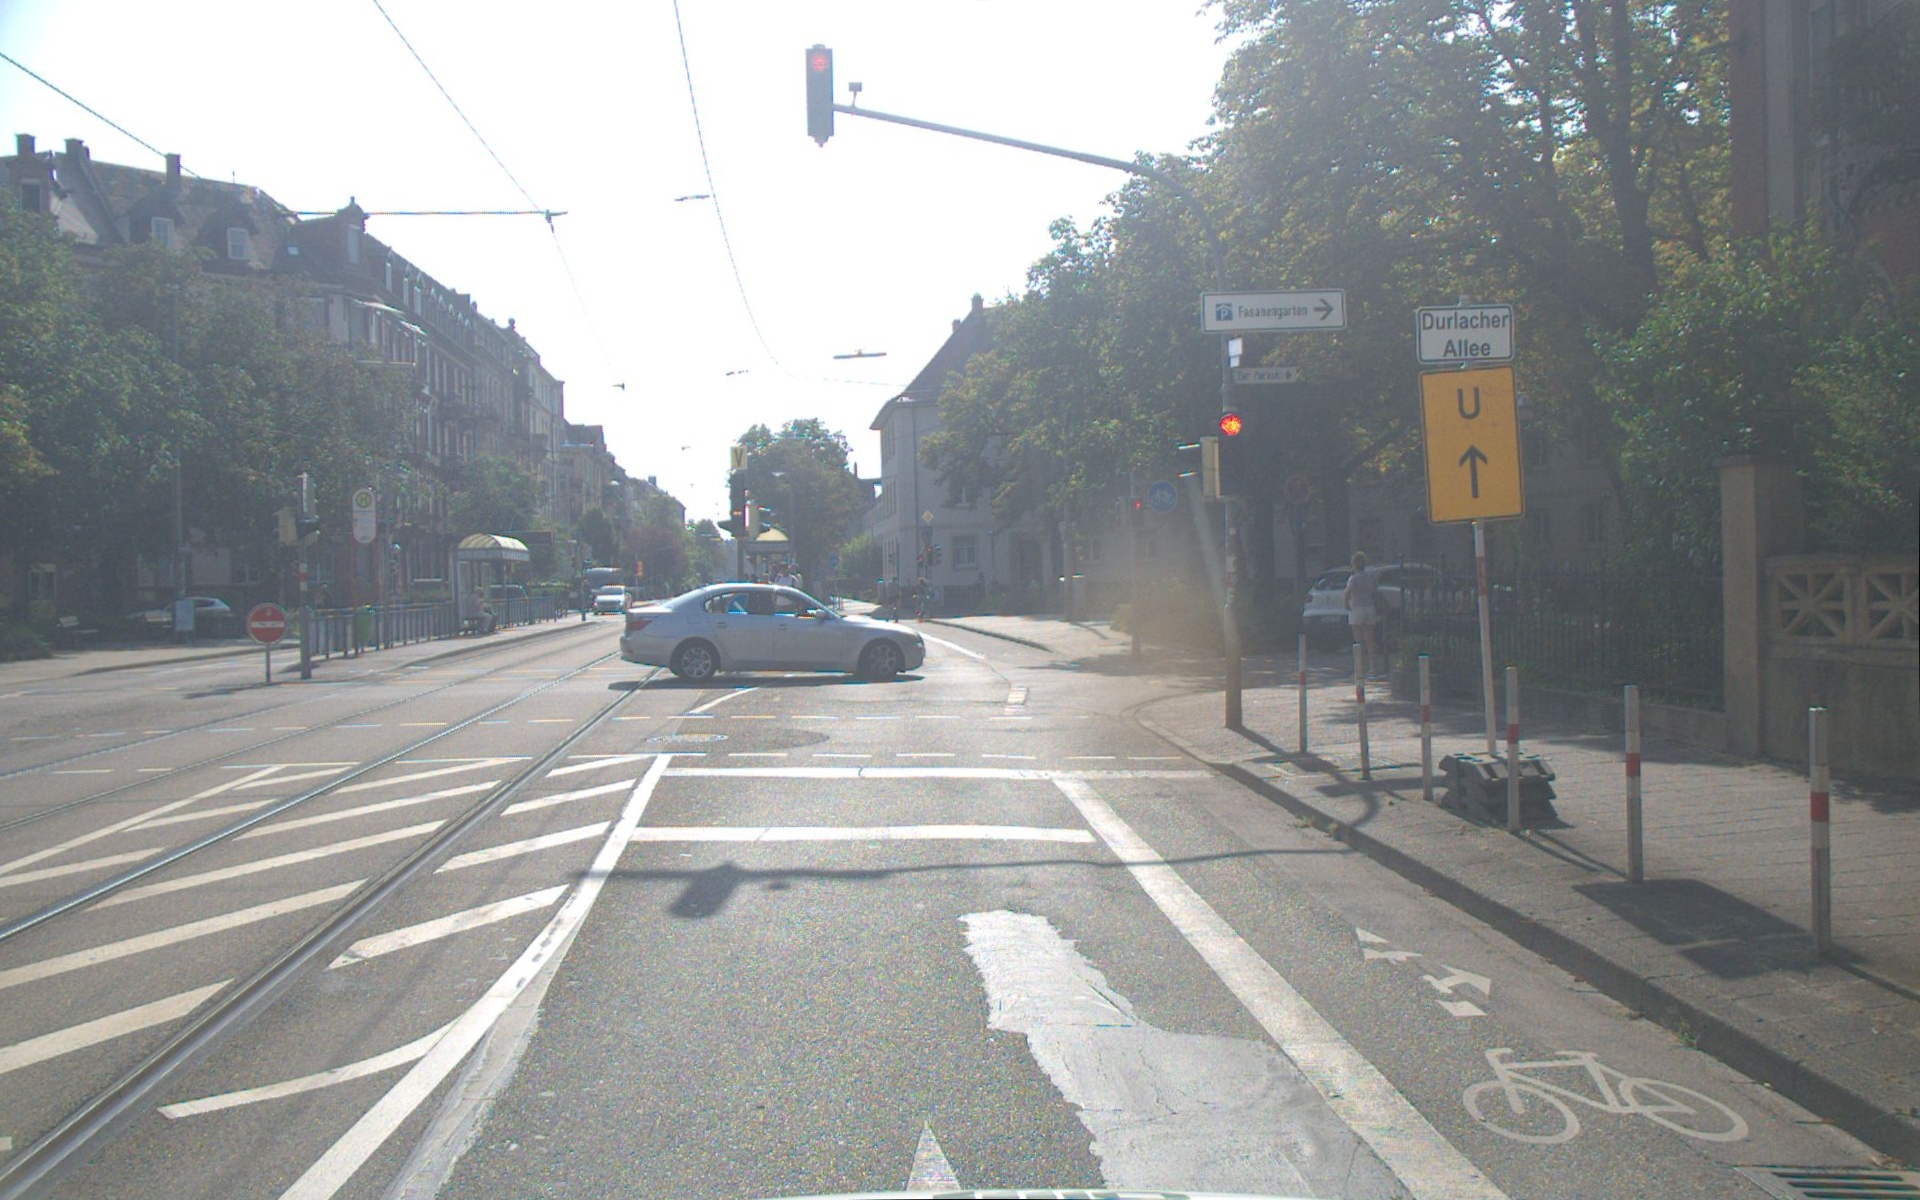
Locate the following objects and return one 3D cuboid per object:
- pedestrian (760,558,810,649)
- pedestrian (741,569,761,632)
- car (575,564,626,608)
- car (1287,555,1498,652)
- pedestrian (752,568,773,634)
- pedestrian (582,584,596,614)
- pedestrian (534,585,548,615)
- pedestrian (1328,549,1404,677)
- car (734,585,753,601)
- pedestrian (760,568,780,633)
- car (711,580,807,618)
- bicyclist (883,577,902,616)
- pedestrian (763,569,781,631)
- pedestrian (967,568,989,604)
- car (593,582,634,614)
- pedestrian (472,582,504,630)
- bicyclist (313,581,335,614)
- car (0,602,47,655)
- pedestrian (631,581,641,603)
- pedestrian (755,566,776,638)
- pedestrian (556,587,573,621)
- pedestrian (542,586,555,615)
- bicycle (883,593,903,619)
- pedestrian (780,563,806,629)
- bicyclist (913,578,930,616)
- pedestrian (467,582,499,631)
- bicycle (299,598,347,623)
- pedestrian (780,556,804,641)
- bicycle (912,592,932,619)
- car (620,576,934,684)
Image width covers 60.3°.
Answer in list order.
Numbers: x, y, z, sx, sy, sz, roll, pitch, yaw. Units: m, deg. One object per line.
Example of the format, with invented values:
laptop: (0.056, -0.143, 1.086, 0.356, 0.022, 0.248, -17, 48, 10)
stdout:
pedestrian: (-3.481, 0.051, 32.904, 0.686, 1.755, 0.747, 3, 3, 26)
pedestrian: (-6.041, -0.002, 47.899, 0.522, 1.790, 0.544, 1, 3, -5)
car: (-23.251, -0.937, 107.123, 2.300, 2.708, 5.103, -1, 1, -2)
car: (8.318, 0.024, 31.615, 4.299, 1.659, 1.968, -3, 1, -44)
pedestrian: (-5.465, 0.022, 45.725, 0.532, 1.790, 0.533, 1, 3, -6)
pedestrian: (-22.028, -0.051, 98.255, 0.737, 1.761, 0.768, -2, 0, -15)
pedestrian: (-25.229, -0.003, 99.548, 0.737, 1.761, 0.768, -2, 0, -15)
pedestrian: (5.717, 0.173, 23.310, 0.737, 1.761, 0.768, -2, 0, -15)
car: (-23.091, -0.780, 176.603, 1.766, 1.682, 3.638, -1, 1, -5)
pedestrian: (-5.344, 0.006, 46.551, 0.532, 1.790, 0.533, 1, 3, -6)
car: (-9.194, -0.075, 75.960, 4.236, 1.596, 1.999, -2, 1, -3)
bicyclist: (-2.634, -0.142, 64.624, 0.617, 1.533, 0.677, -2, 1, -8)
pedestrian: (-5.505, -0.007, 48.542, 0.494, 1.790, 0.533, 1, 3, -6)
pedestrian: (0.907, -0.708, 82.430, 0.872, 1.770, 0.776, -1, 0, 17)
car: (-19.299, -0.144, 92.300, 1.766, 1.682, 3.638, -1, 1, -5)
pedestrian: (-14.096, 0.175, 49.420, 0.813, 1.382, 0.774, -1, 1, -11)
bicyclist: (-26.910, -0.103, 69.988, 0.808, 1.351, 0.544, -2, 1, -24)
car: (-36.002, 1.061, 60.644, 3.911, 1.860, 1.997, -1, 1, -7)
pedestrian: (-26.790, -0.643, 136.594, 0.737, 1.761, 0.768, -2, 0, -15)
pedestrian: (-4.905, 0.049, 41.759, 0.494, 1.790, 0.533, 1, 3, -6)
pedestrian: (-21.164, 0.199, 88.574, 0.735, 1.761, 0.771, -1, 0, -4)
pedestrian: (-25.563, 0.018, 102.797, 0.737, 1.761, 0.768, -2, 0, -15)
bicycle: (-2.631, 0.227, 64.629, 0.617, 0.995, 1.767, -2, 1, -8)
pedestrian: (-4.643, -0.117, 46.004, 0.695, 1.790, 0.533, 1, 3, -6)
bicyclist: (-1.494, -0.122, 64.209, 0.547, 1.441, 0.870, -2, 1, -8)
pedestrian: (-13.969, 0.182, 48.452, 0.813, 1.382, 0.774, -1, 1, -11)
bicycle: (-26.949, 0.424, 69.972, 1.826, 0.974, 0.544, -2, 1, -24)
pedestrian: (-3.771, -0.041, 37.158, 0.494, 1.865, 0.533, 1, 3, -6)
bicycle: (-1.478, 0.221, 64.200, 0.547, 0.995, 1.853, -2, 1, -8)
car: (-2.878, 0.422, 25.787, 4.686, 1.492, 1.865, -2, 1, -11)
